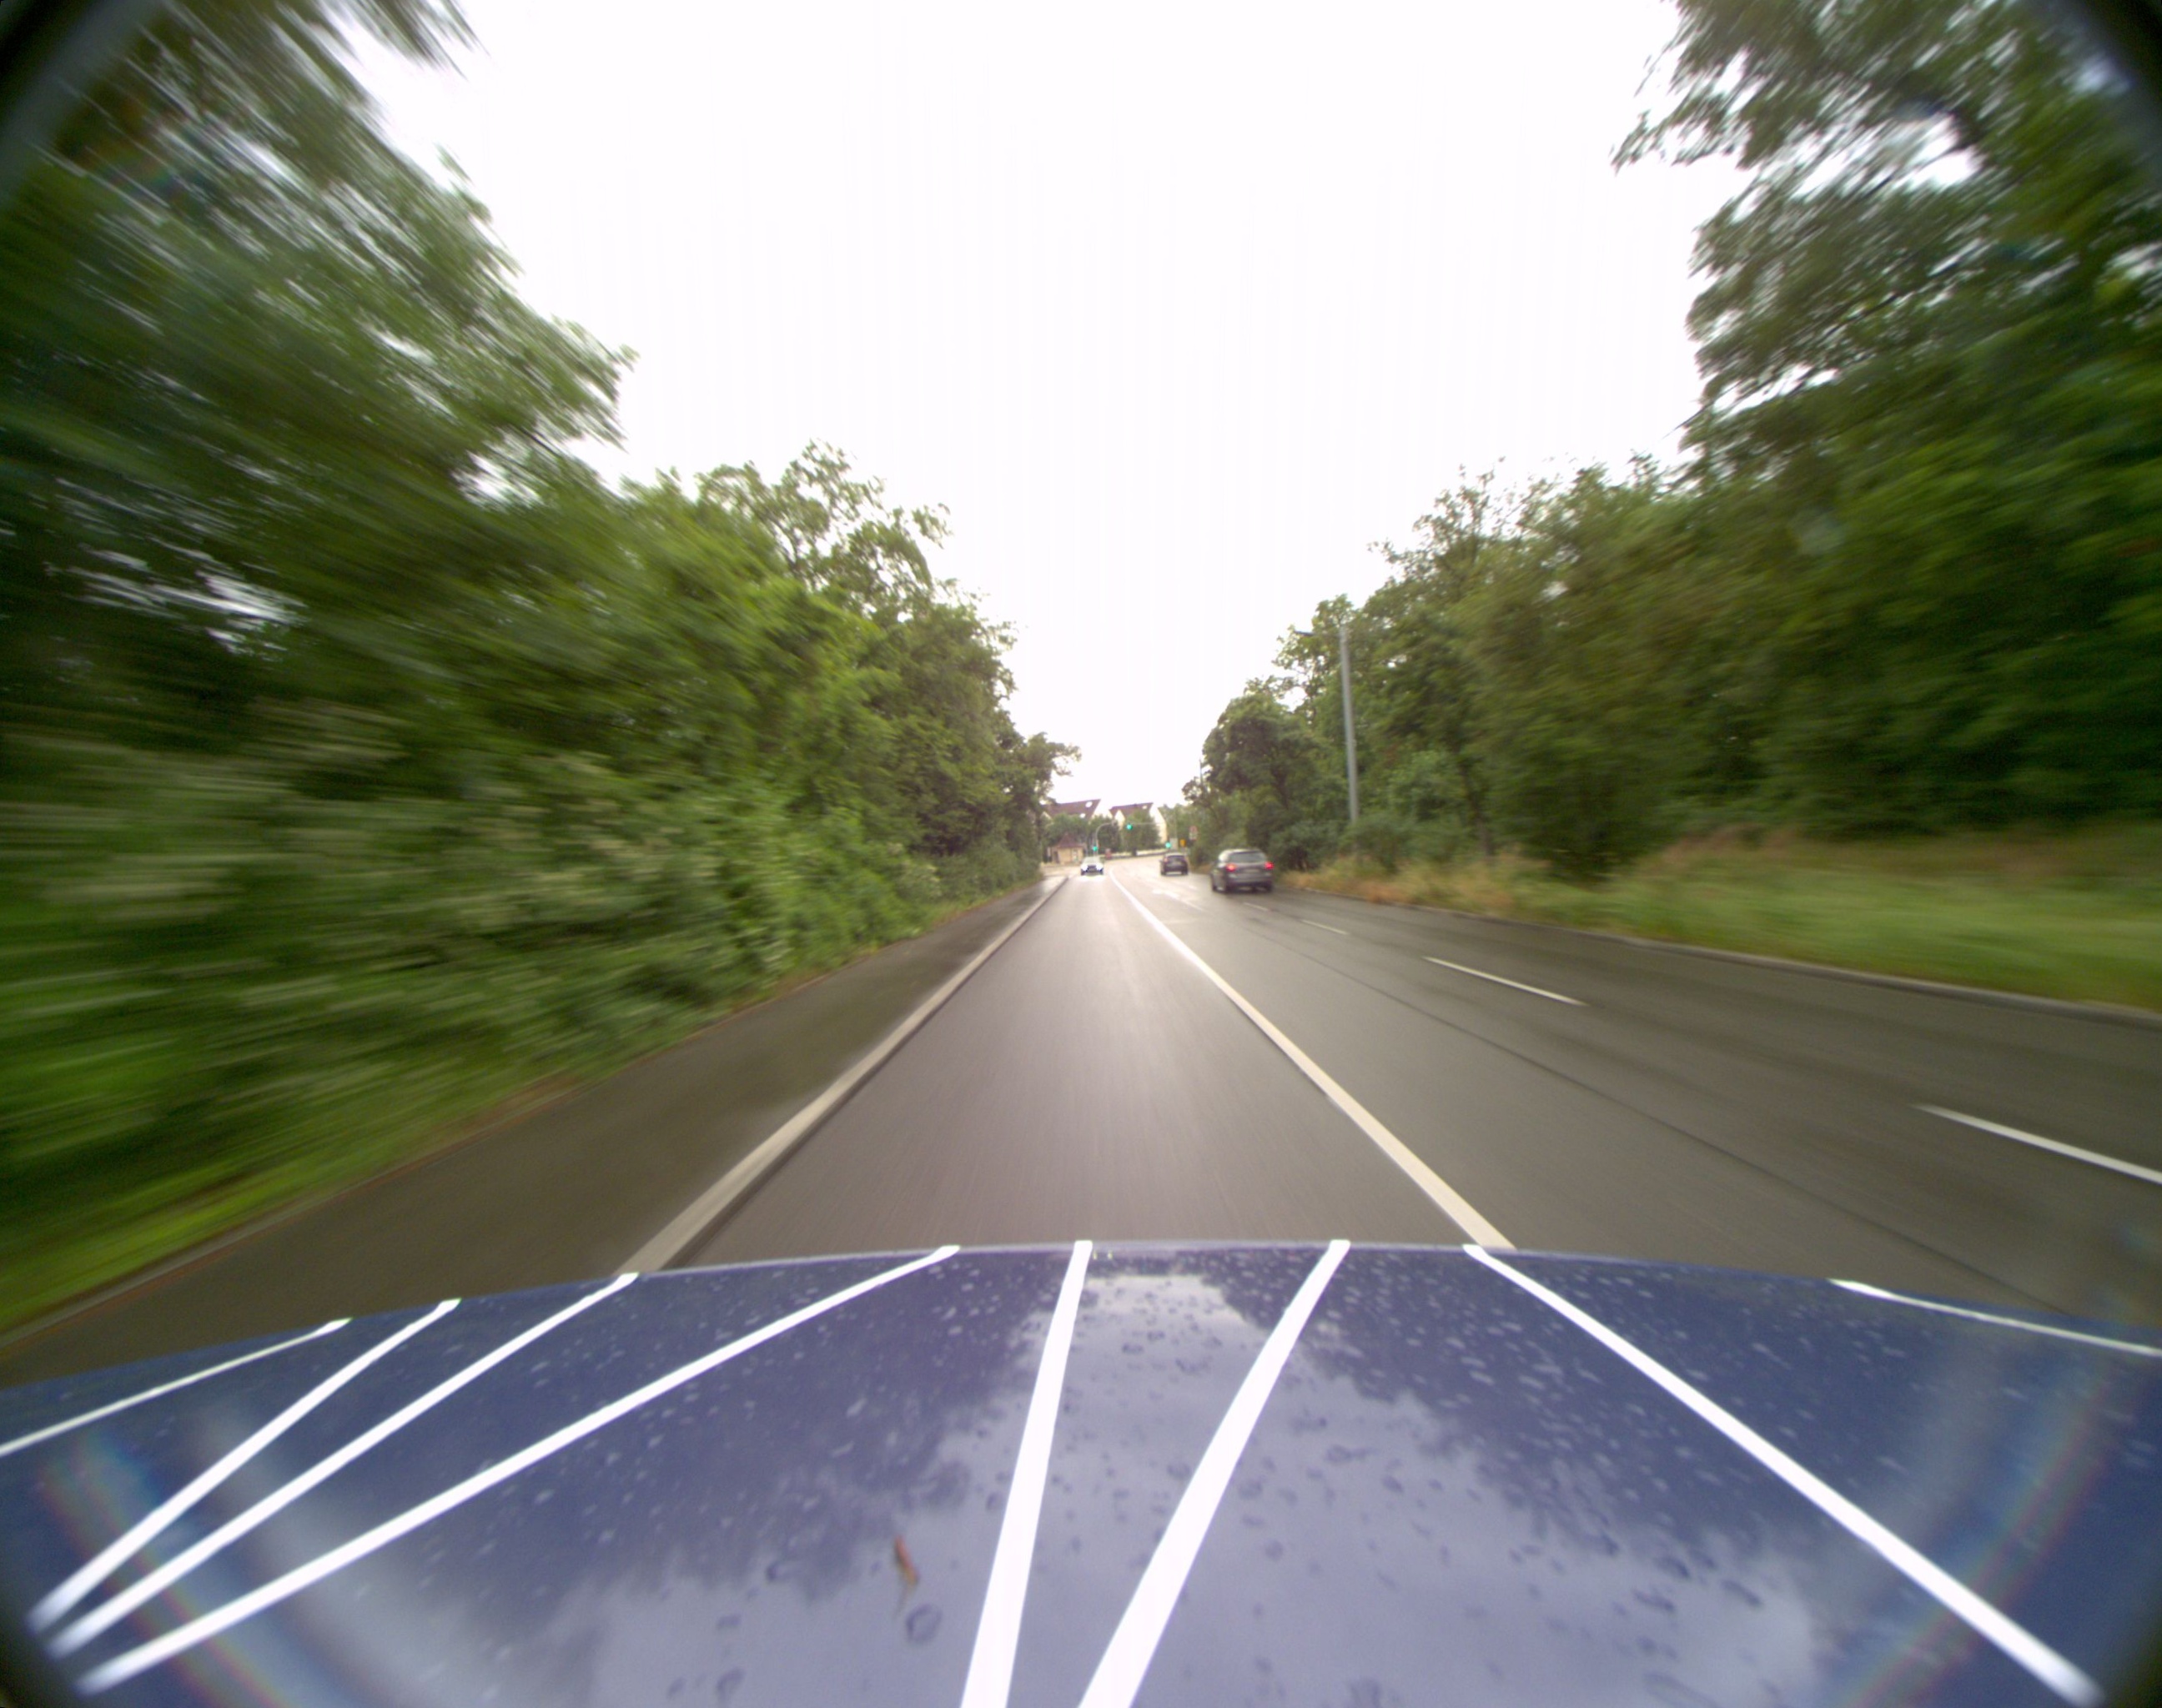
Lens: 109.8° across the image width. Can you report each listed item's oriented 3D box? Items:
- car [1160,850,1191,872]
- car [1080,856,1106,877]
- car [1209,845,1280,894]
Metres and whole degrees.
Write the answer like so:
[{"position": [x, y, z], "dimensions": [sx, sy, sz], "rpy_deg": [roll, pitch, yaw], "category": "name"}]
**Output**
[{"position": [6.553, 0.441, 53.034], "dimensions": [1.603, 1.433, 3.990], "rpy_deg": [-2, 0, 0], "category": "car"}, {"position": [0.970, 0.947, 61.068], "dimensions": [1.945, 1.446, 4.604], "rpy_deg": [-3, 1, 2], "category": "car"}, {"position": [5.989, 0.517, 28.290], "dimensions": [1.776, 1.601, 4.083], "rpy_deg": [-3, 0, 1], "category": "car"}]
